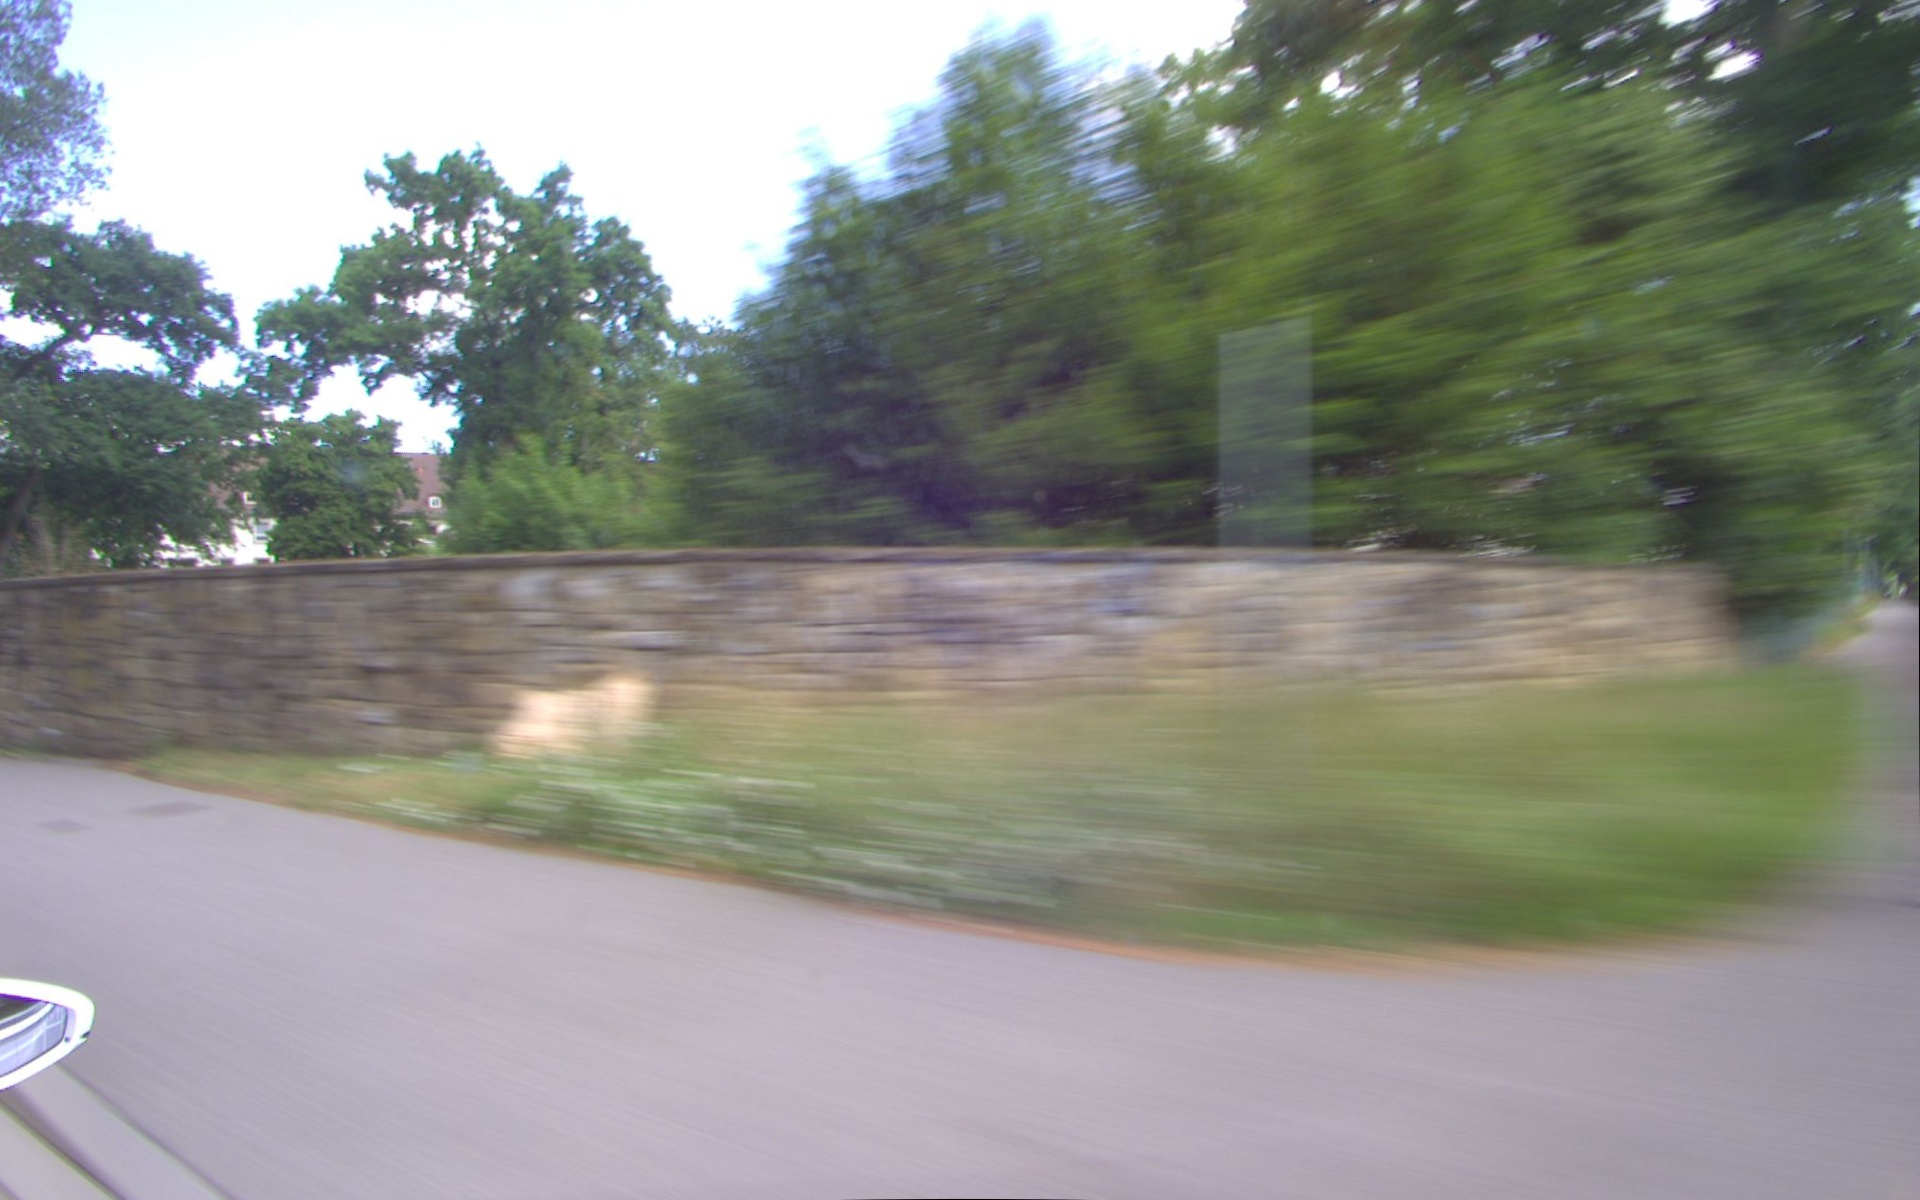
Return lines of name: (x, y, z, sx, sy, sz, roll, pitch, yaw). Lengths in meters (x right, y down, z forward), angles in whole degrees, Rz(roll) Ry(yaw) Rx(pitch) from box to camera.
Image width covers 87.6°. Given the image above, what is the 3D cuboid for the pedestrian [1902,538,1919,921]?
pedestrian: (4.656, 0.555, 4.423, 0.824, 1.673, 0.620, -1, 0, -41)
